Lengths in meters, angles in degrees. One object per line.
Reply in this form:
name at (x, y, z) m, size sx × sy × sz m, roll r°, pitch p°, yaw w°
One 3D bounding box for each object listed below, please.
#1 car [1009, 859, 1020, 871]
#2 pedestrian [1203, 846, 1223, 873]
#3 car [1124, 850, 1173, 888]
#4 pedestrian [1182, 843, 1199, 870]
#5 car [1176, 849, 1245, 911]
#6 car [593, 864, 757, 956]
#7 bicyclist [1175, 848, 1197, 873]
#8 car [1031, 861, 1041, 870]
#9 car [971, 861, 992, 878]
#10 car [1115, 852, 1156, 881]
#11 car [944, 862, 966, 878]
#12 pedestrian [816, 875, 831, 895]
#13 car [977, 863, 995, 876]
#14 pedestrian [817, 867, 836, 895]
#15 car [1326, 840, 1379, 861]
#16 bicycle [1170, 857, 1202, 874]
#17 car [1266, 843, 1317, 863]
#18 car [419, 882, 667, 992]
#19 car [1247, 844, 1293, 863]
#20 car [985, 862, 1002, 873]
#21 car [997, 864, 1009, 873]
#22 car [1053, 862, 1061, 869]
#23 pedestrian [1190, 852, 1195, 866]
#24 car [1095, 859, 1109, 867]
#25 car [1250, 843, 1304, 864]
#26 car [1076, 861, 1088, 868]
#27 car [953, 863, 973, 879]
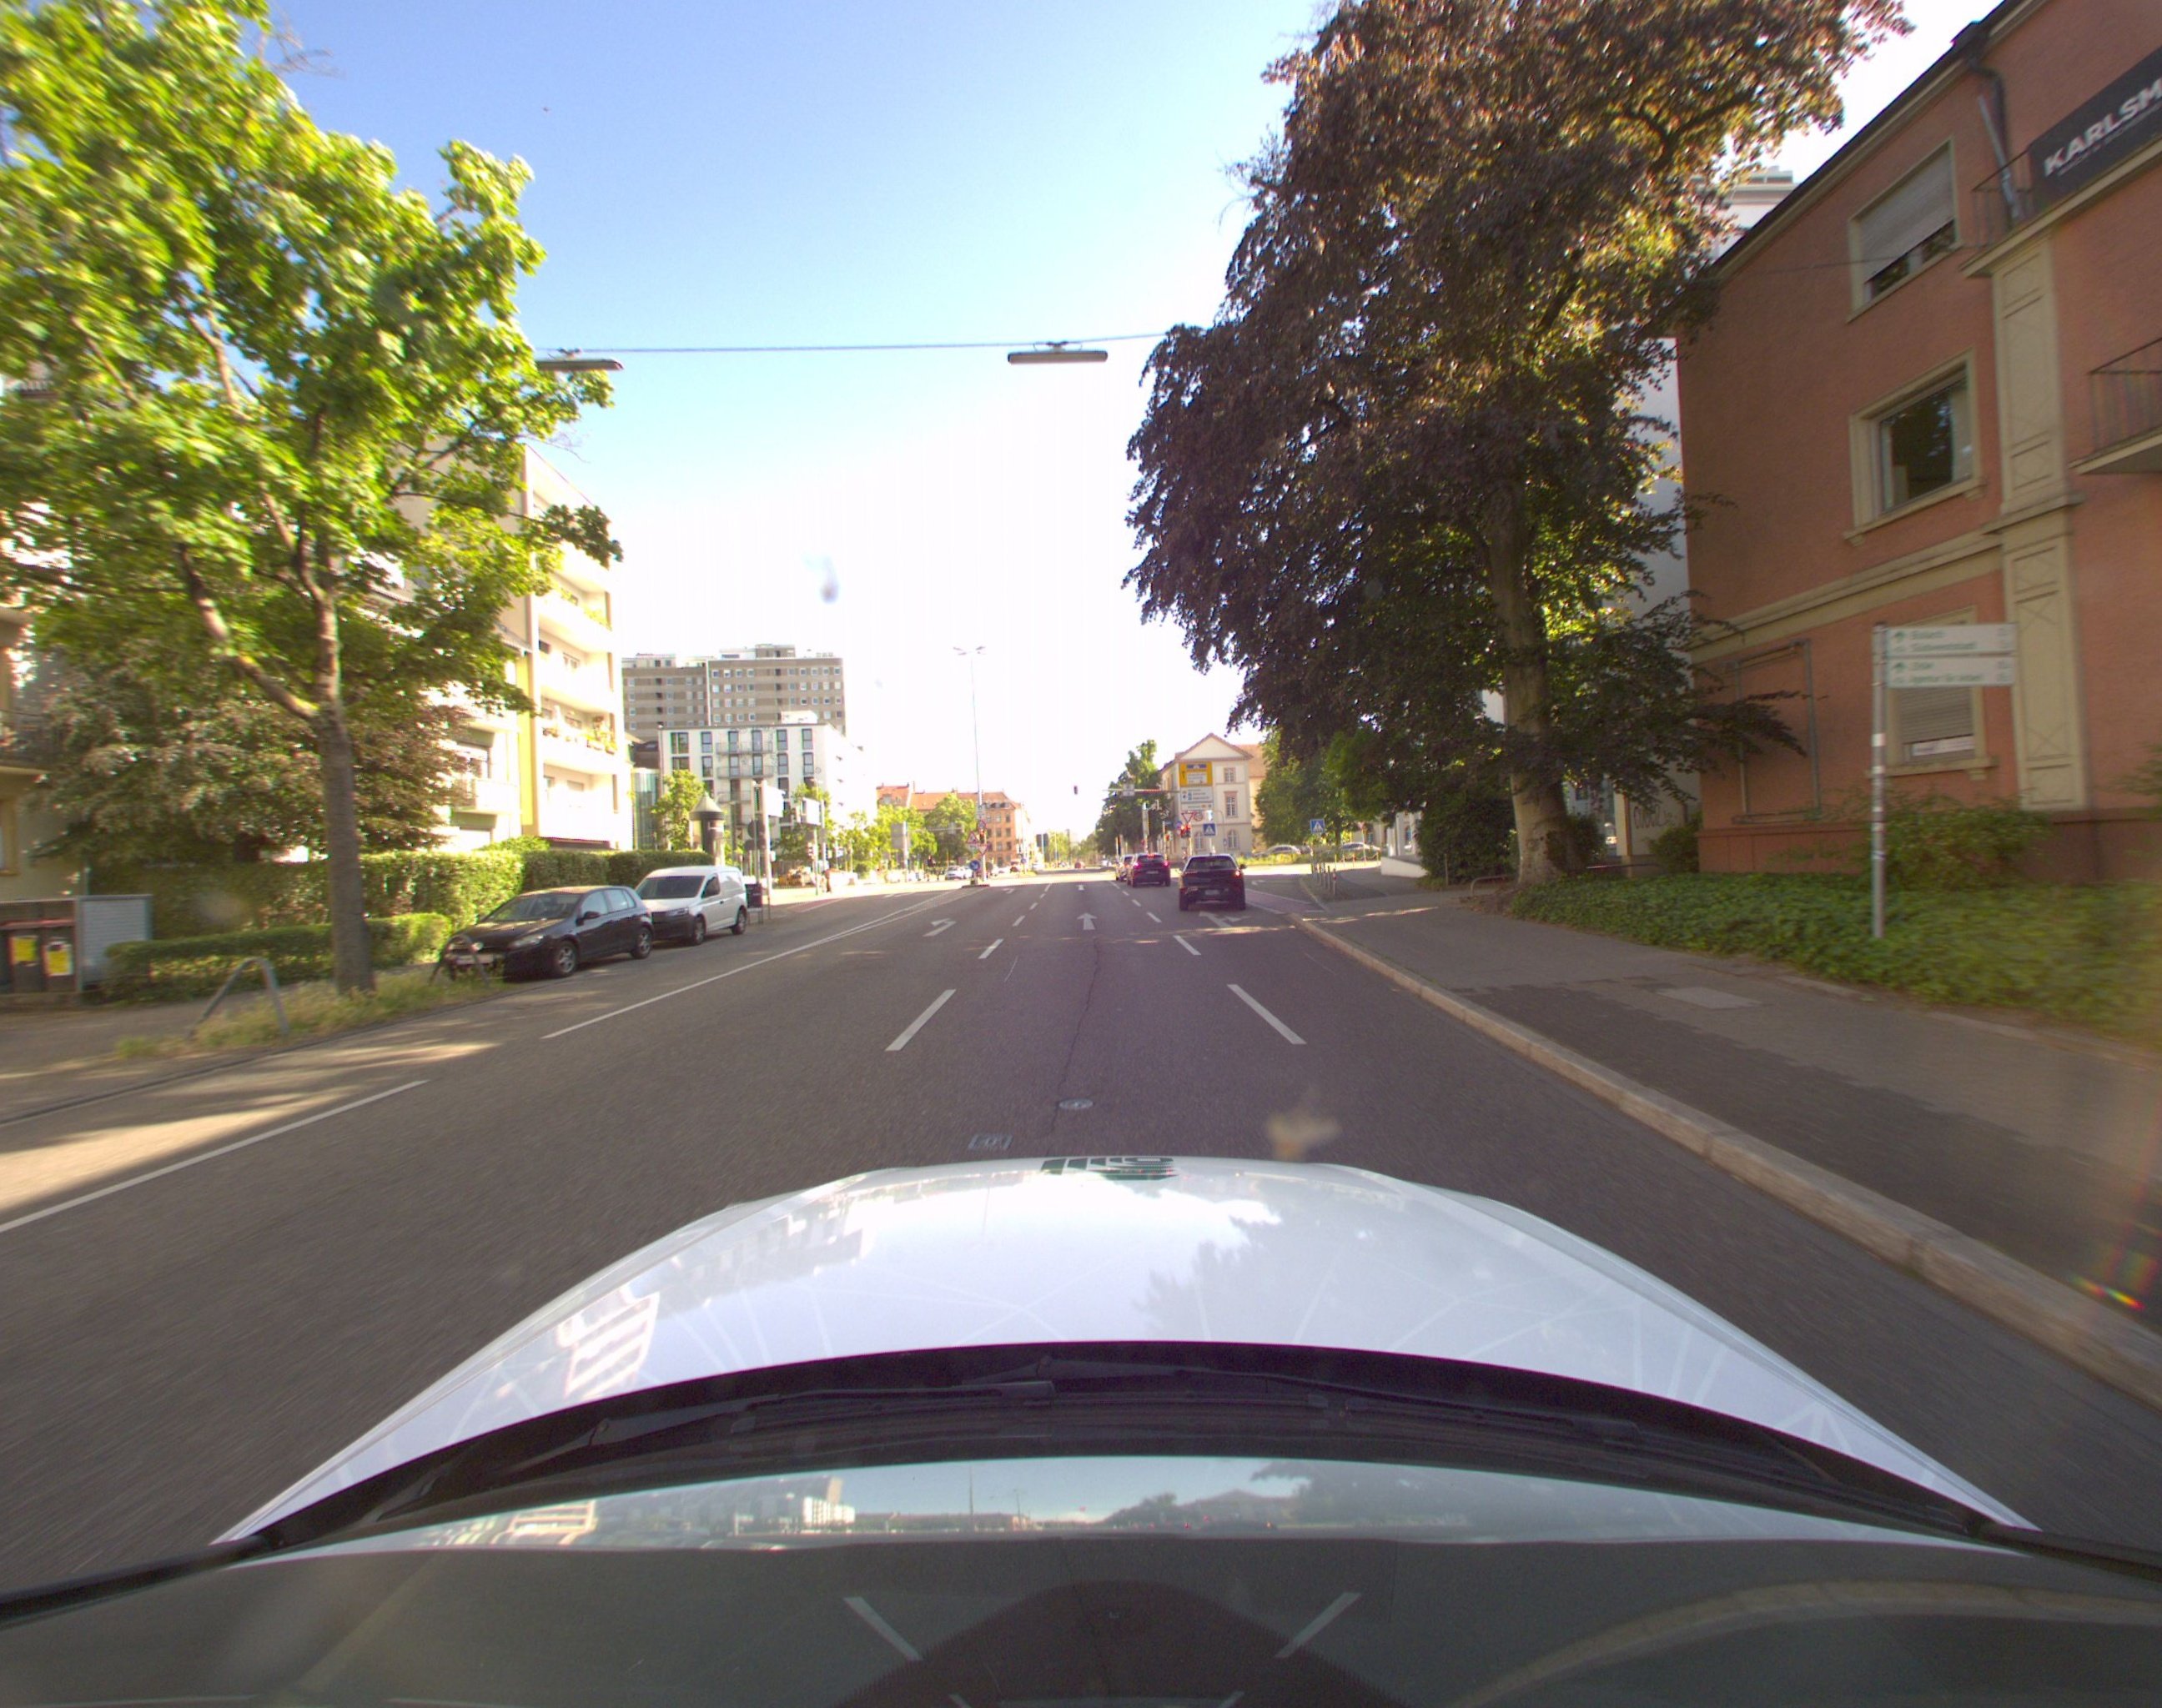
car at (-12.286, 1.985, 150.977) m, size 1.805 × 2.134 × 3.997 m, roll -3°, pitch 0°, yaw -2°
pedestrian at (8.479, 0.344, 52.392) m, size 1.039 × 1.659 × 0.782 m, roll -3°, pitch 0°, yaw -6°
car at (3.081, 0.663, 37.734) m, size 1.825 × 1.578 × 3.837 m, roll -3°, pitch 0°, yaw -1°
pedestrian at (6.968, 0.147, 51.689) m, size 0.825 × 1.702 × 0.915 m, roll -2°, pitch 0°, yaw -7°
car at (3.718, 0.676, 22.984) m, size 1.734 × 1.573 × 3.569 m, roll -2°, pitch 0°, yaw 11°
car at (-9.568, 1.222, 19.668) m, size 1.815 × 1.834 × 4.556 m, roll -3°, pitch 0°, yaw -4°
bicyclist at (6.972, 0.449, 54.125) m, size 1.170 × 1.633 × 0.724 m, roll -2°, pitch 0°, yaw -22°
car at (-9.461, 2.432, 170.319) m, size 1.805 × 1.634 × 3.997 m, roll -3°, pitch 0°, yaw -2°
car at (-10.813, 1.647, 88.625) m, size 1.786 × 1.617 × 3.998 m, roll -3°, pitch 0°, yaw -1°
car at (2.927, 0.668, 44.725) m, size 1.825 × 1.452 × 3.986 m, roll -3°, pitch 0°, yaw -1°
car at (-13.941, 1.788, 90.397) m, size 1.869 × 1.617 × 3.997 m, roll -3°, pitch 0°, yaw -2°
pedestrian at (-15.500, 1.863, 49.028) m, size 0.666 × 1.166 × 0.669 m, roll -3°, pitch 0°, yaw -35°
car at (-12.206, 2.017, 104.948) m, size 1.869 × 1.448 × 3.997 m, roll -3°, pitch 0°, yaw -2°
pedestrian at (-15.664, 1.641, 50.144) m, size 0.668 × 1.649 × 0.837 m, roll -3°, pitch 0°, yaw 45°
car at (24.079, -0.333, 72.232) m, size 3.982 × 1.644 × 1.919 m, roll -3°, pitch 0°, yaw -6°
bicycle at (6.984, 0.783, 54.128) m, size 2.040 × 1.061 × 0.617 m, roll -2°, pitch 0°, yaw -23°
car at (19.310, -0.074, 74.731) m, size 4.112 × 1.601 × 1.817 m, roll -3°, pitch 0°, yaw -8°
car at (-9.256, 1.330, 14.490) m, size 1.666 × 1.456 × 4.109 m, roll -3°, pitch 0°, yaw -1°
car at (18.780, -0.034, 80.975) m, size 4.112 × 1.601 × 1.817 m, roll -3°, pitch 0°, yaw -8°
car at (-12.375, 1.935, 115.359) m, size 1.869 × 1.448 × 3.997 m, roll -3°, pitch 0°, yaw -2°
car at (-15.048, 2.799, 157.034) m, size 1.869 × 1.448 × 3.997 m, roll -3°, pitch 0°, yaw -2°
car at (-5.673, 2.701, 190.440) m, size 1.805 × 1.634 × 3.997 m, roll -3°, pitch 0°, yaw -2°
pedestrian at (12.828, 0.593, 93.631) m, size 0.438 × 1.615 × 0.468 m, roll 0°, pitch -1°, yaw 4°
car at (5.029, 2.085, 194.806) m, size 2.156 × 1.698 × 4.022 m, roll -3°, pitch 0°, yaw 22°
car at (17.072, -0.008, 71.053) m, size 4.112 × 1.601 × 1.817 m, roll -3°, pitch 0°, yaw -8°
car at (0.193, 2.291, 179.834) m, size 1.798 × 1.407 × 4.014 m, roll -3°, pitch 0°, yaw 13°
car at (-14.076, 2.013, 97.200) m, size 1.869 × 1.617 × 3.997 m, roll -3°, pitch 0°, yaw -2°
